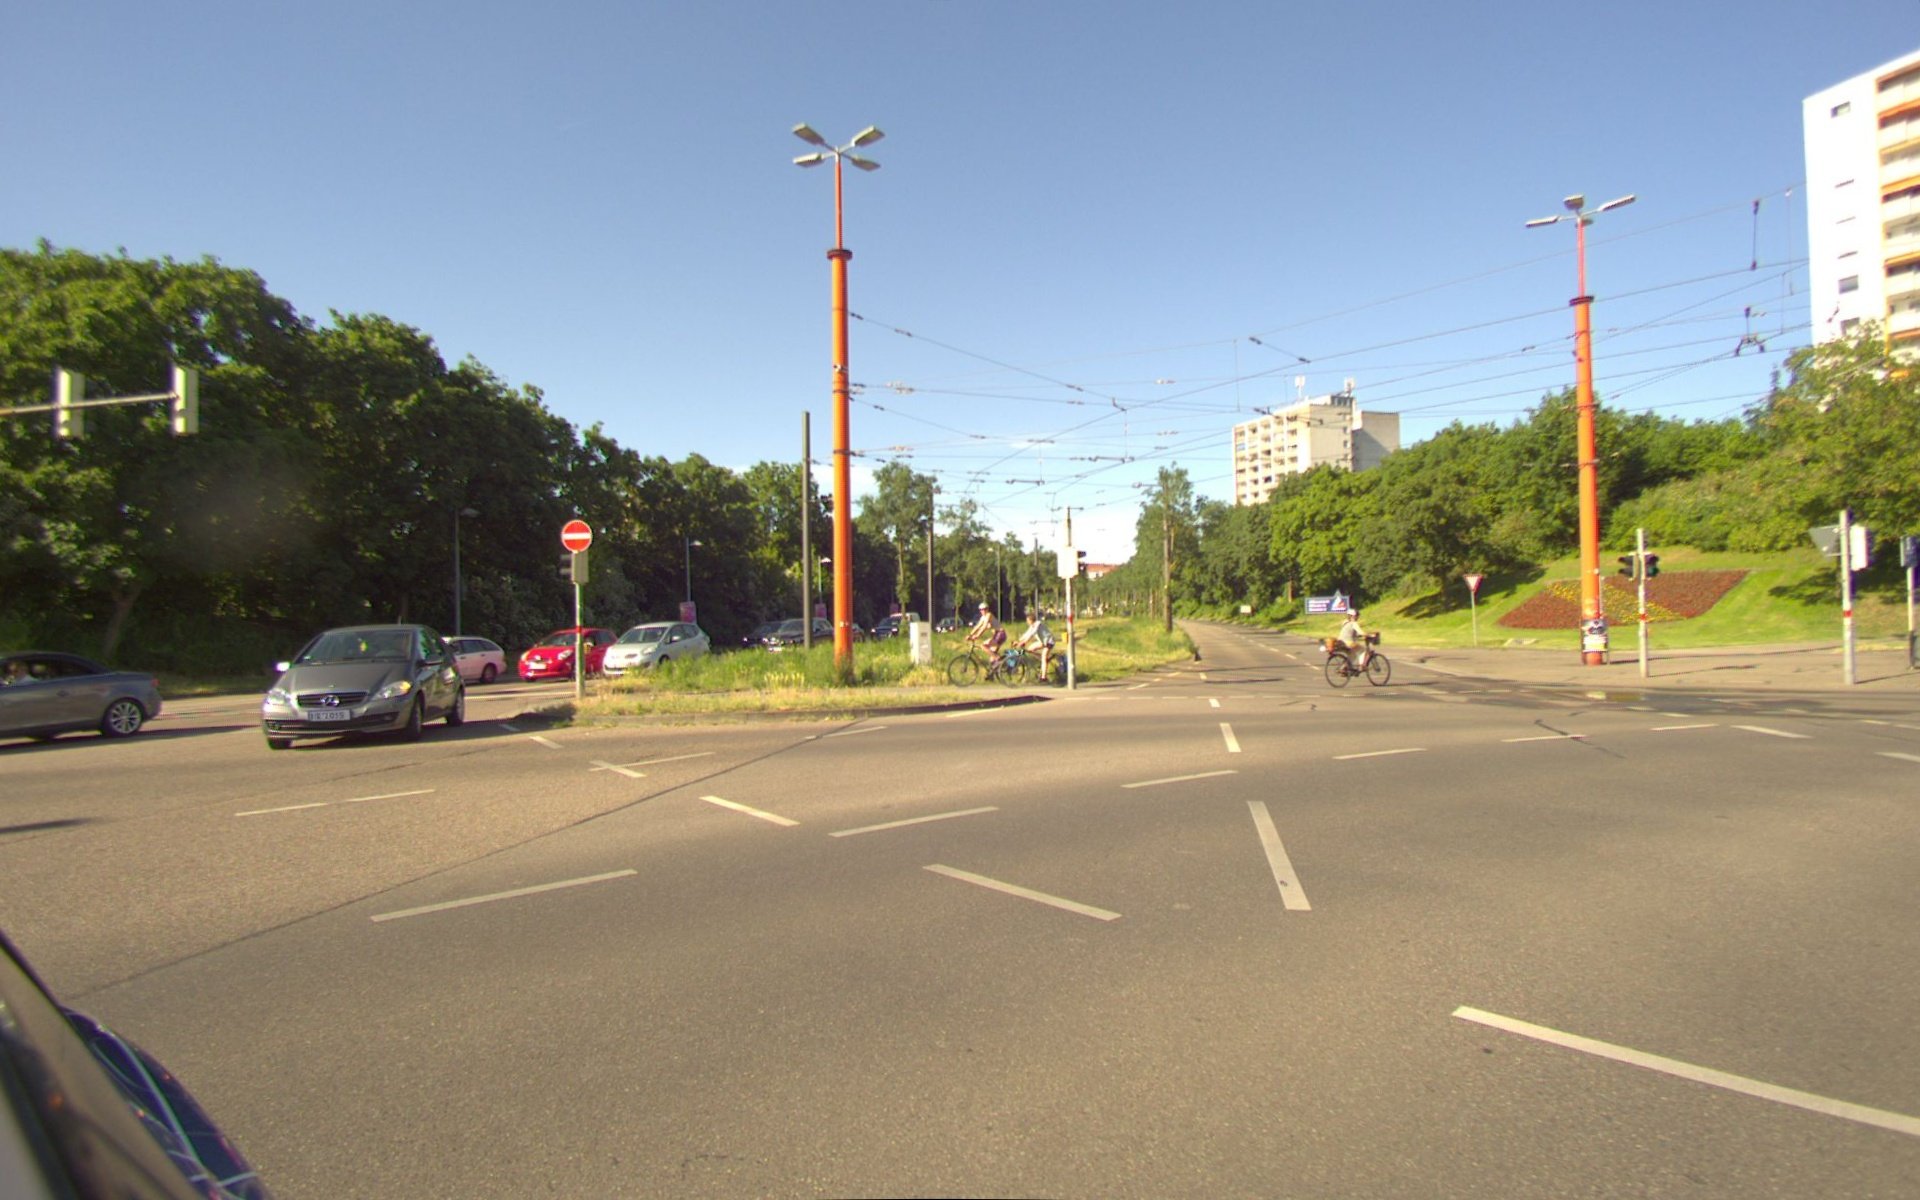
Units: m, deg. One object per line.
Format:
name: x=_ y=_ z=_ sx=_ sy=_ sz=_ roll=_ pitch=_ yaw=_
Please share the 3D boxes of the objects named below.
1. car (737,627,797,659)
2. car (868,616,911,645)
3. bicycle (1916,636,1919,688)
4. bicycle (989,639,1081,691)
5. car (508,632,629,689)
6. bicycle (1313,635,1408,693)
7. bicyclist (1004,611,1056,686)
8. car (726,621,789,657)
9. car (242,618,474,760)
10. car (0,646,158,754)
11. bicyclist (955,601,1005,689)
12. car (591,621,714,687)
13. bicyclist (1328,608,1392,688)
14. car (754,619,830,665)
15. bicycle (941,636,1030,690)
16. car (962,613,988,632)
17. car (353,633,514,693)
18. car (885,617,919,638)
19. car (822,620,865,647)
car: x=-9.927 y=2.207 z=52.315 sx=1.697 sy=1.505 sz=3.950 roll=-3 pitch=-1 yaw=11
car: x=-4.442 y=1.906 z=64.618 sx=1.731 sy=1.674 sz=3.987 roll=-3 pitch=-1 yaw=10
bicycle: x=14.219 y=1.017 z=13.650 sx=0.682 sy=1.079 sz=1.917 roll=-3 pitch=-1 yaw=-3
bicycle: x=1.611 y=1.398 z=21.865 sx=1.885 sy=1.080 sz=0.581 roll=0 pitch=-2 yaw=-10
car: x=-11.589 y=1.755 z=30.205 sx=1.668 sy=1.456 sz=3.715 roll=-3 pitch=-1 yaw=10
bicycle: x=8.526 y=1.337 z=21.556 sx=1.882 sy=1.139 sz=0.743 roll=-1 pitch=-2 yaw=-25
bicyclist: x=1.501 y=1.036 z=21.887 sx=0.909 sy=1.536 sz=0.722 roll=-3 pitch=1 yaw=-10
car: x=-10.258 y=1.946 z=51.513 sx=1.731 sy=1.674 sz=3.987 roll=-3 pitch=-1 yaw=10
car: x=-8.312 y=1.158 z=14.387 sx=1.721 sy=1.653 sz=4.010 roll=-2 pitch=-2 yaw=-14
car: x=-14.249 y=1.478 z=14.559 sx=1.697 sy=1.449 sz=4.157 roll=-3 pitch=-1 yaw=11
bicyclist: x=0.432 y=1.000 z=22.760 sx=0.909 sy=1.881 sz=0.894 roll=-3 pitch=-1 yaw=-7
car: x=-8.883 y=1.524 z=29.587 sx=1.731 sy=1.674 sz=3.987 roll=-3 pitch=-1 yaw=10
bicyclist: x=8.507 y=1.014 z=21.553 sx=0.813 sy=1.634 sz=0.895 roll=0 pitch=-2 yaw=-25
car: x=-6.639 y=1.643 z=40.453 sx=1.731 sy=1.674 sz=3.986 roll=-2 pitch=-1 yaw=10
bicycle: x=0.567 y=1.394 z=22.711 sx=1.886 sy=1.079 sz=0.580 roll=-3 pitch=-1 yaw=-7
car: x=1.407 y=2.053 z=93.698 sx=1.677 sy=1.674 sz=3.814 roll=-3 pitch=-1 yaw=10
car: x=-14.952 y=1.750 z=29.059 sx=1.732 sy=1.447 sz=4.370 roll=-3 pitch=-1 yaw=11
car: x=-4.528 y=2.141 z=79.757 sx=1.697 sy=1.505 sz=3.950 roll=-3 pitch=-1 yaw=11
car: x=-7.407 y=2.112 z=64.783 sx=1.636 sy=1.541 sz=3.883 roll=-3 pitch=-1 yaw=10
